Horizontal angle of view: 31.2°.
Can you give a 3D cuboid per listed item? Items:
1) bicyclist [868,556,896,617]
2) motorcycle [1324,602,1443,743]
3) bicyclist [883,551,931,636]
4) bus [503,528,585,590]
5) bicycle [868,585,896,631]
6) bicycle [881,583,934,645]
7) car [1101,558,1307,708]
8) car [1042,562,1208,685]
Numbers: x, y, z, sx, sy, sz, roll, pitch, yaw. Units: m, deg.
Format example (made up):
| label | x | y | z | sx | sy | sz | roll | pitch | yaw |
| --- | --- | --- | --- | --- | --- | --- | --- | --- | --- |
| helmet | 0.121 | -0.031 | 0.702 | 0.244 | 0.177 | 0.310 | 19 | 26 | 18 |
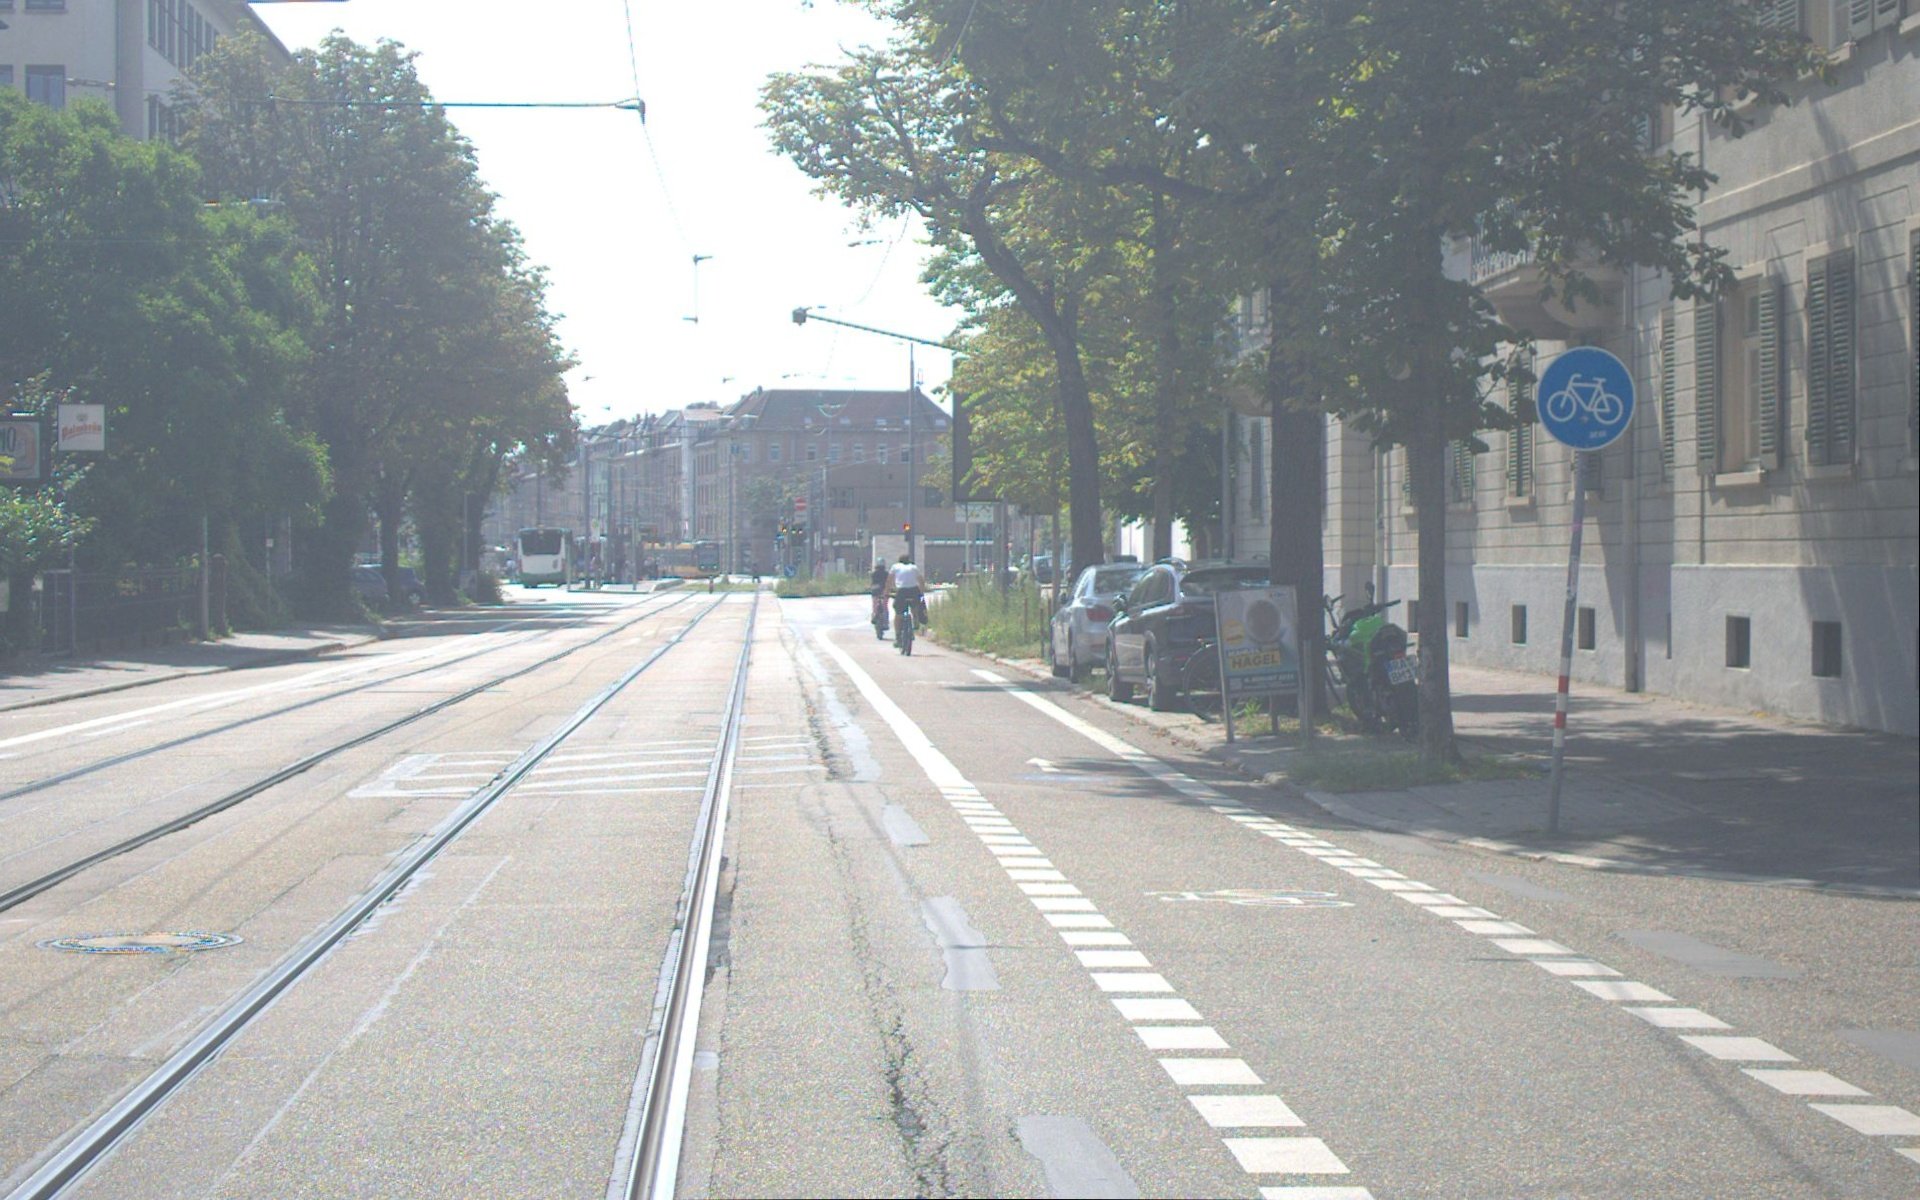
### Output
| label | x | y | z | sx | sy | sz | roll | pitch | yaw |
| --- | --- | --- | --- | --- | --- | --- | --- | --- | --- |
| bicyclist | -1.629 | -0.283 | 72.018 | 0.579 | 1.274 | 0.471 | 0 | 1 | -1 |
| motorcycle | 3.406 | 0.563 | 27.788 | 0.549 | 1.064 | 2.331 | 0 | 1 | -3 |
| bicyclist | -0.874 | -0.107 | 56.839 | 0.758 | 1.387 | 0.779 | 0 | 1 | -3 |
| bus | -23.227 | -2.295 | 192.524 | 3.734 | 3.352 | 15.122 | 0 | 1 | -4 |
| bicycle | -1.631 | 0.159 | 72.082 | 0.588 | 0.936 | 2.172 | 0 | 1 | -1 |
| bicycle | -0.878 | 0.230 | 56.988 | 0.758 | 0.987 | 2.298 | 0 | 1 | -3 |
| car | 2.450 | 0.321 | 35.224 | 1.583 | 1.459 | 3.416 | 0 | 0 | -5 |
| car | 1.996 | 0.279 | 42.498 | 1.583 | 1.459 | 3.468 | 0 | 0 | -5 |
